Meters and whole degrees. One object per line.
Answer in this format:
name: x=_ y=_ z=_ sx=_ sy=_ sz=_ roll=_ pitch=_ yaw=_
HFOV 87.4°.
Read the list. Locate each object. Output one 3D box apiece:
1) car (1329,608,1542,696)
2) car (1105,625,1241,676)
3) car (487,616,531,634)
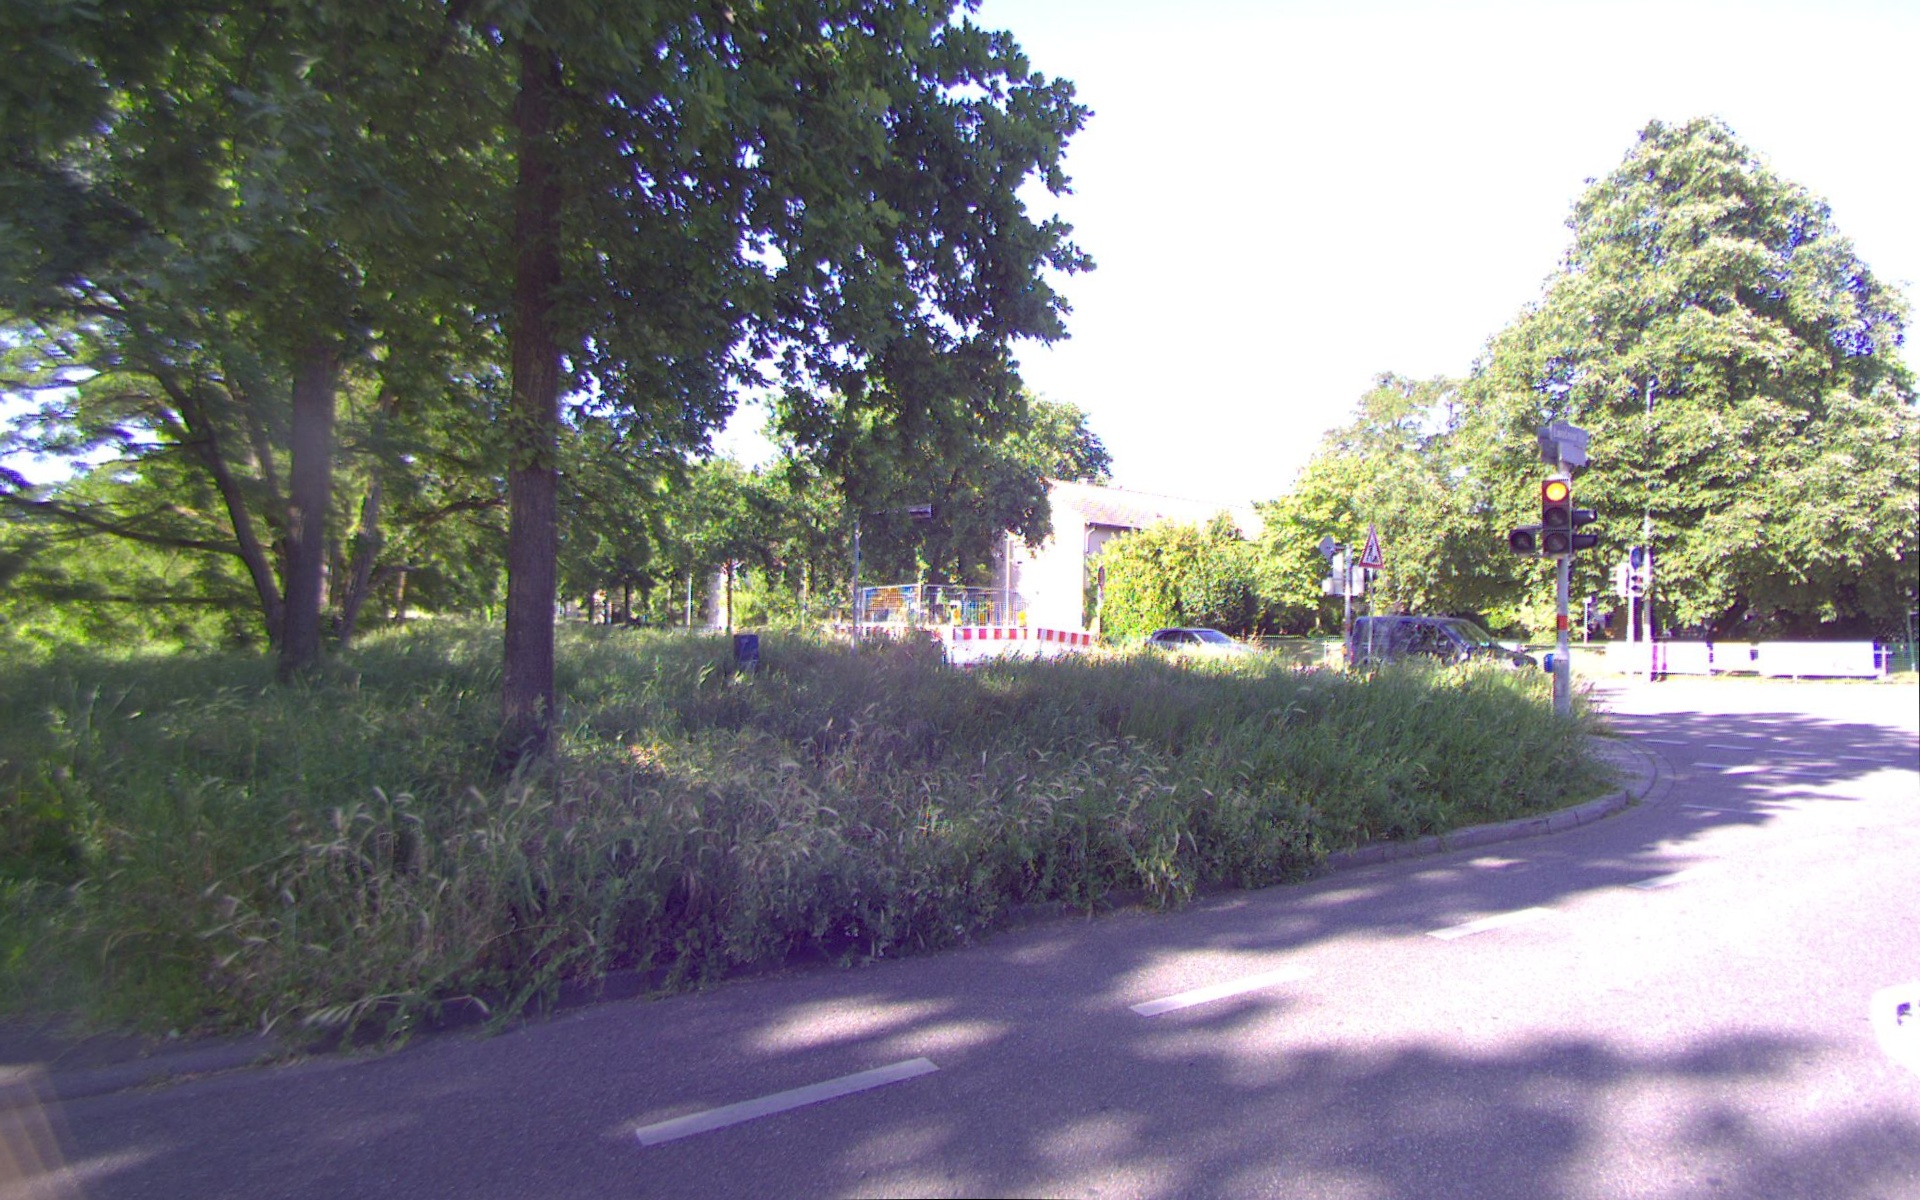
car: x=11.267 y=1.177 z=24.081 sx=1.840 sy=1.912 sz=4.319 roll=1 pitch=-1 yaw=-33
car: x=6.713 y=1.555 z=32.084 sx=1.892 sy=1.508 sz=4.261 roll=1 pitch=-2 yaw=-31
car: x=-46.964 y=2.639 z=104.733 sx=3.939 sy=1.673 sz=1.991 roll=2 pitch=0 yaw=-20
